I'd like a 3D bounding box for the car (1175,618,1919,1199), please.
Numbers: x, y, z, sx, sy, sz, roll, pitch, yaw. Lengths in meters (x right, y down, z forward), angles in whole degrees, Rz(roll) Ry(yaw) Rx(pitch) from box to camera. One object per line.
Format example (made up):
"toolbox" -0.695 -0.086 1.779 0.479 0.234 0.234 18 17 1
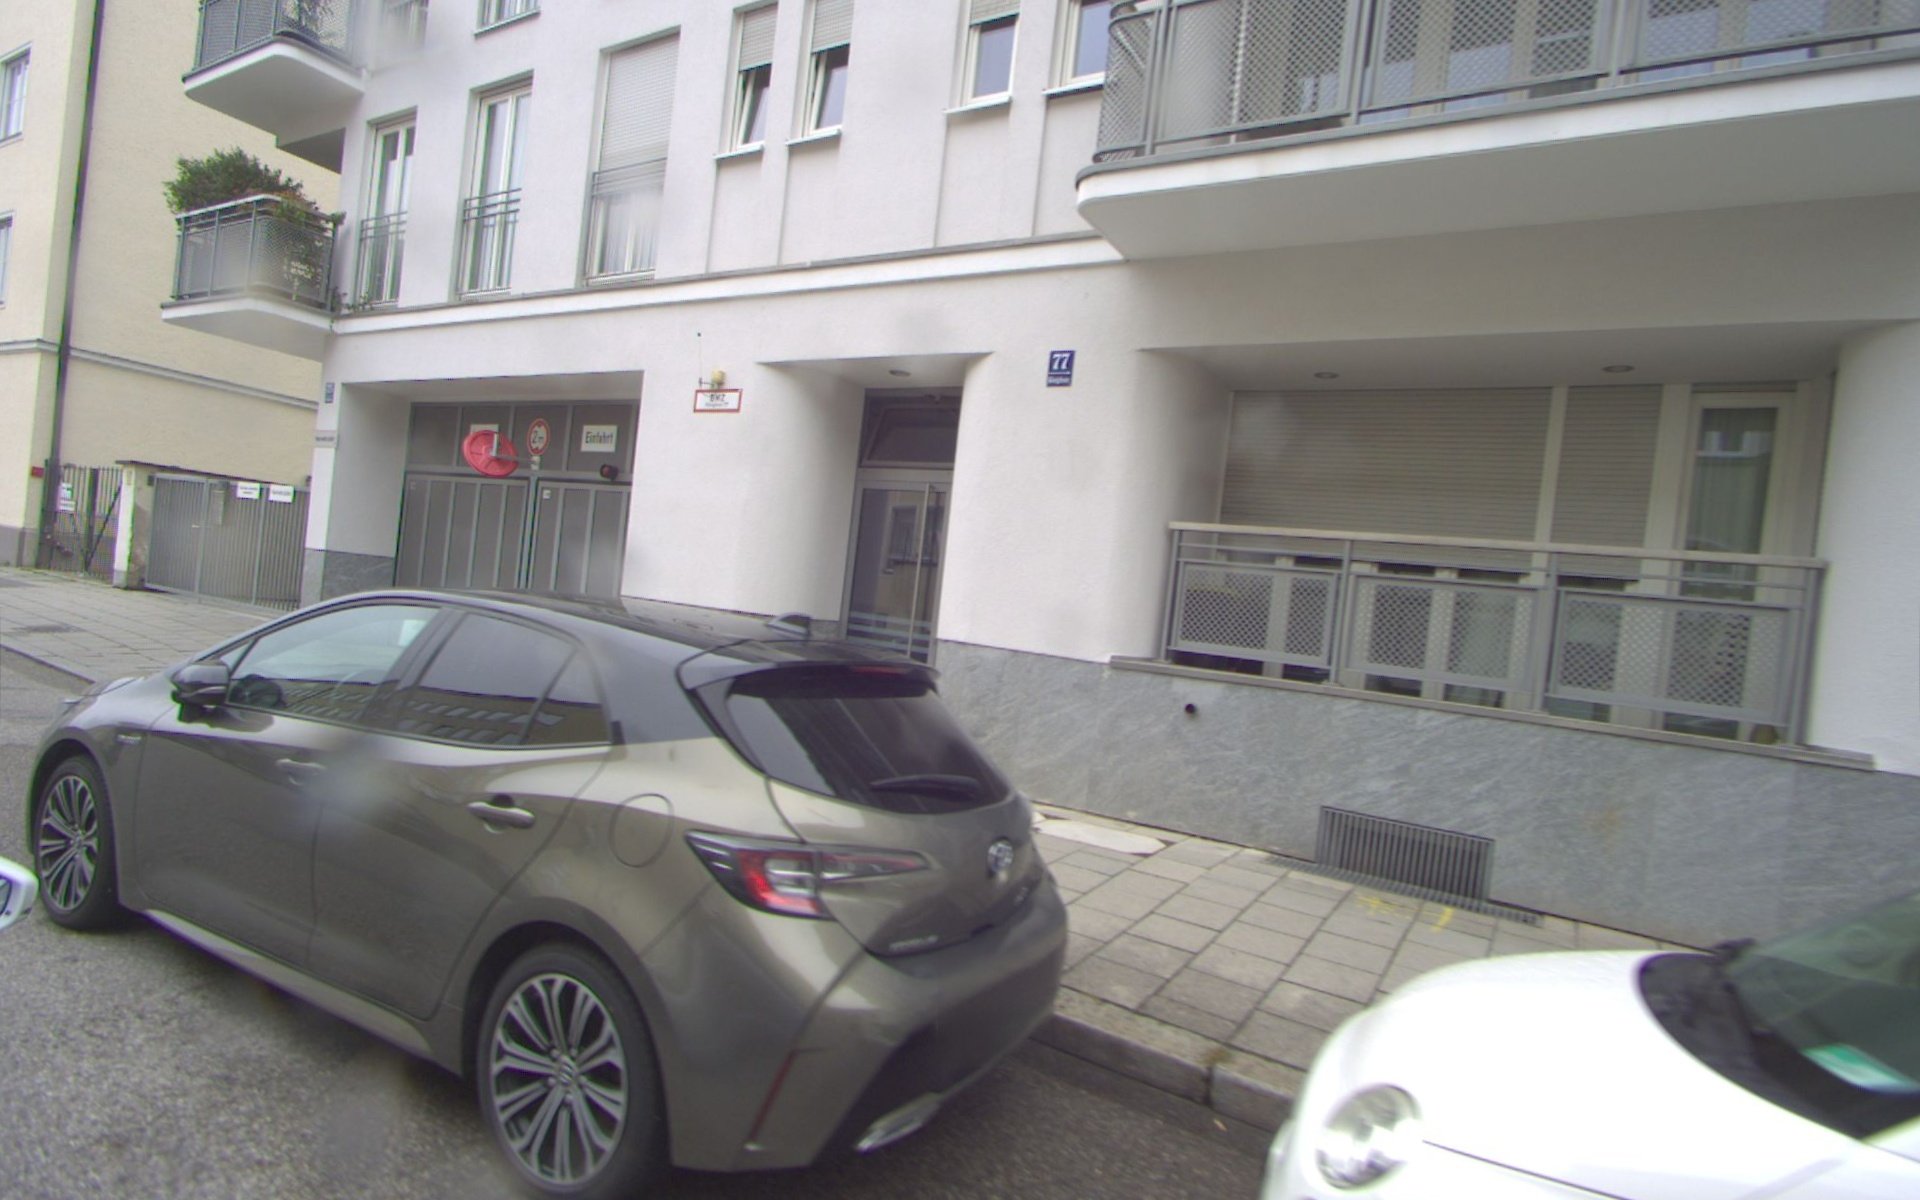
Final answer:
"car" 2.238 1.040 1.447 3.467 1.548 1.522 7 -1 31

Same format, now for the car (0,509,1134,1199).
"car" -1.625 0.602 3.727 4.008 1.425 1.766 6 0 29
